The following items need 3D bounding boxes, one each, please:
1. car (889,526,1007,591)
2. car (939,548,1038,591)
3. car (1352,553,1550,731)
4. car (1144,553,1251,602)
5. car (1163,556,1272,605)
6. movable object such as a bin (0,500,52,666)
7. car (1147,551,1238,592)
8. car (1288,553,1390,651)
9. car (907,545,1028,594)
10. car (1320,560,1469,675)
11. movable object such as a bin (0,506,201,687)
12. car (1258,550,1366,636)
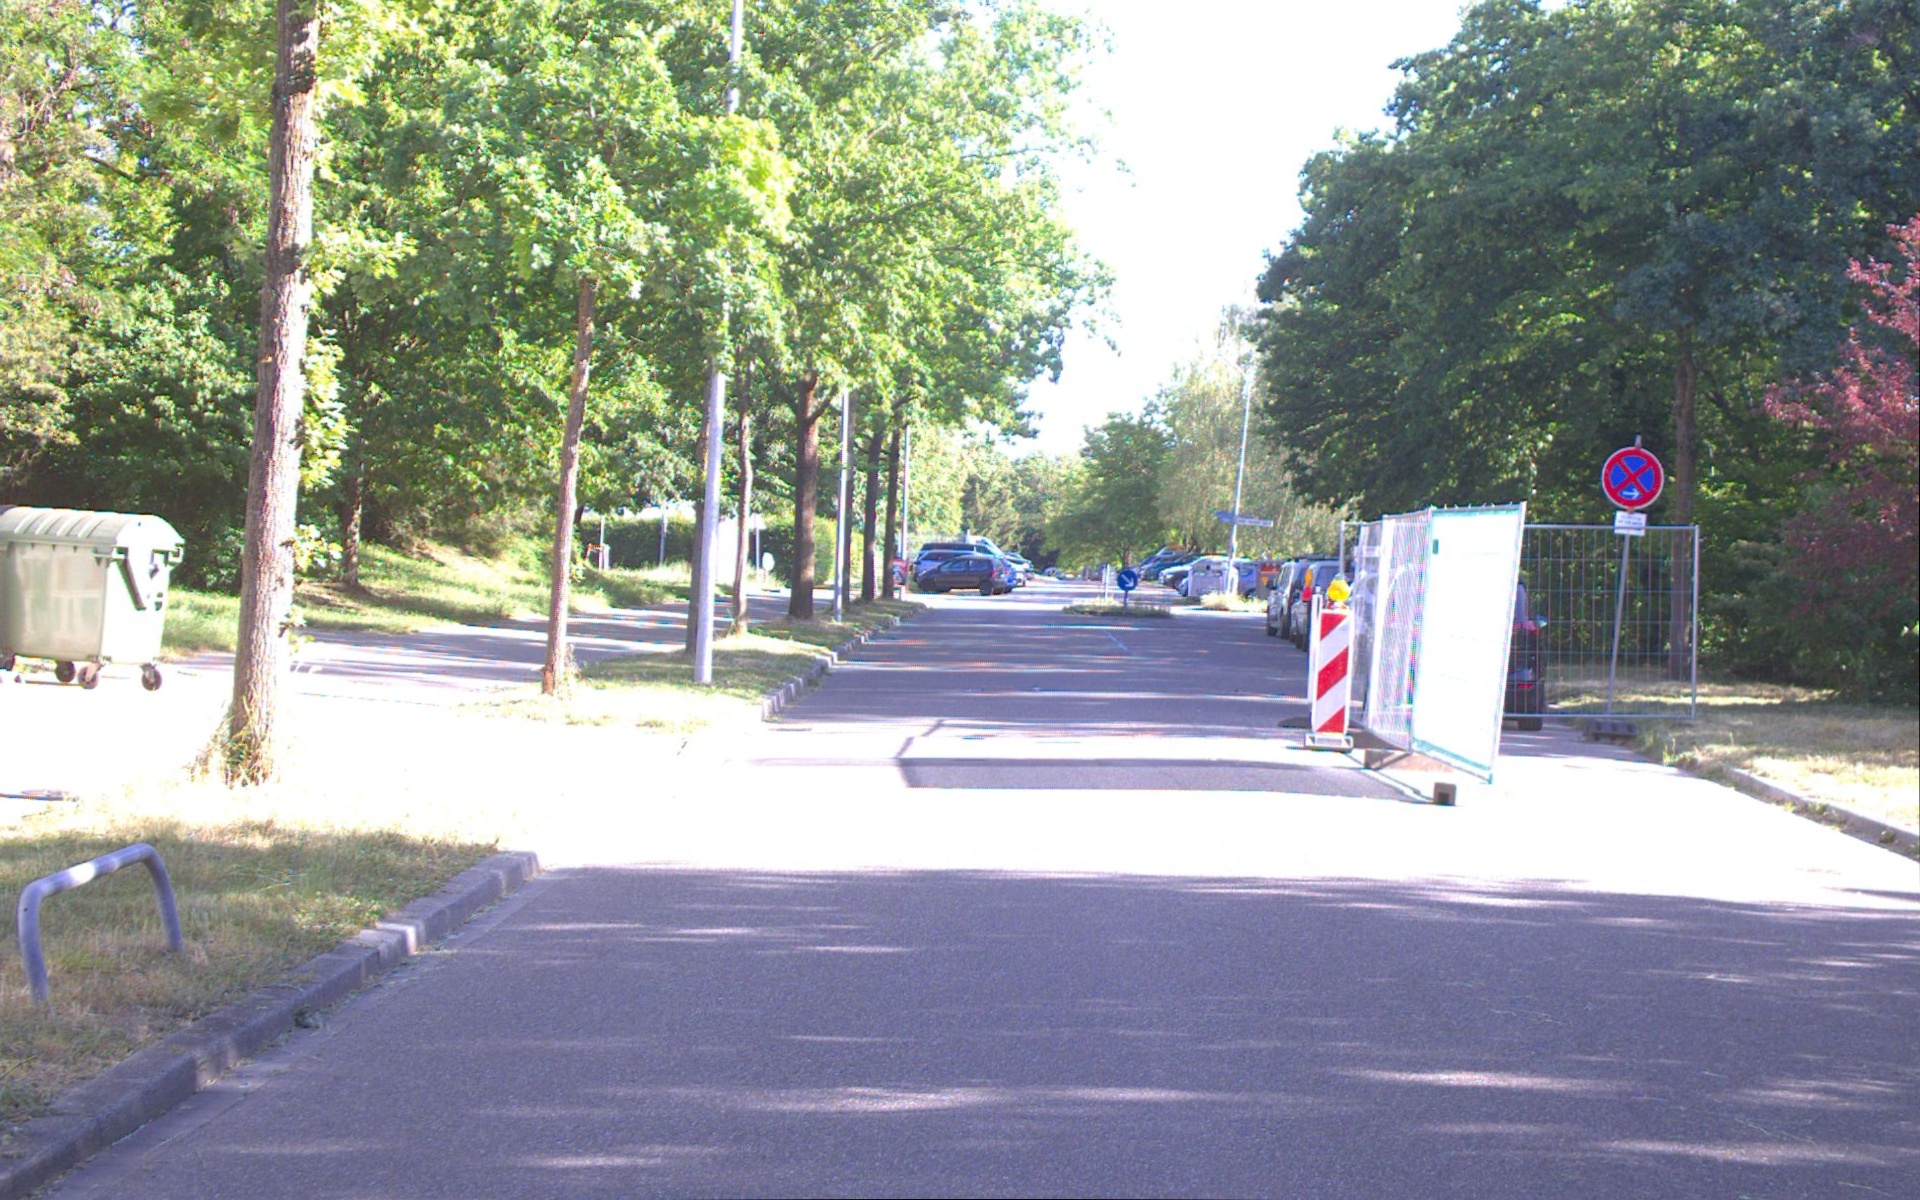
[{"bbox_3d":[-0.577,-1.905,158.392,5.199,2.612,2.294,4,1,-3],"label":"car"},{"bbox_3d":[1.253,-1.339,149.359,4.107,1.571,1.958,4,1,4],"label":"car"},{"bbox_3d":[5.139,0.404,36.466,1.810,1.645,4.420,4,1,6],"label":"car"},{"bbox_3d":[9.060,-0.849,131.009,3.840,1.571,1.688,4,1,9],"label":"car"},{"bbox_3d":[9.617,-0.723,128.159,3.840,1.571,1.688,4,1,9],"label":"car"},{"bbox_3d":[-8.773,-0.173,30.284,1.141,1.430,1.273,2,1,-31],"label":"movable object such as a bin"},{"bbox_3d":[10.381,-1.283,153.580,3.840,1.571,1.688,4,1,9],"label":"car"},{"bbox_3d":[7.425,0.023,67.615,1.623,1.767,3.669,4,1,2],"label":"car"},{"bbox_3d":[0.315,-1.175,133.087,4.320,1.571,2.045,4,1,9],"label":"car"},{"bbox_3d":[6.798,0.241,54.111,1.775,1.616,4.064,4,1,1],"label":"car"},{"bbox_3d":[-7.200,-0.035,28.573,1.270,1.430,1.180,2,1,18],"label":"movable object such as a bin"},{"bbox_3d":[8.029,-0.183,78.785,1.791,1.779,4.557,4,1,-1],"label":"car"}]
